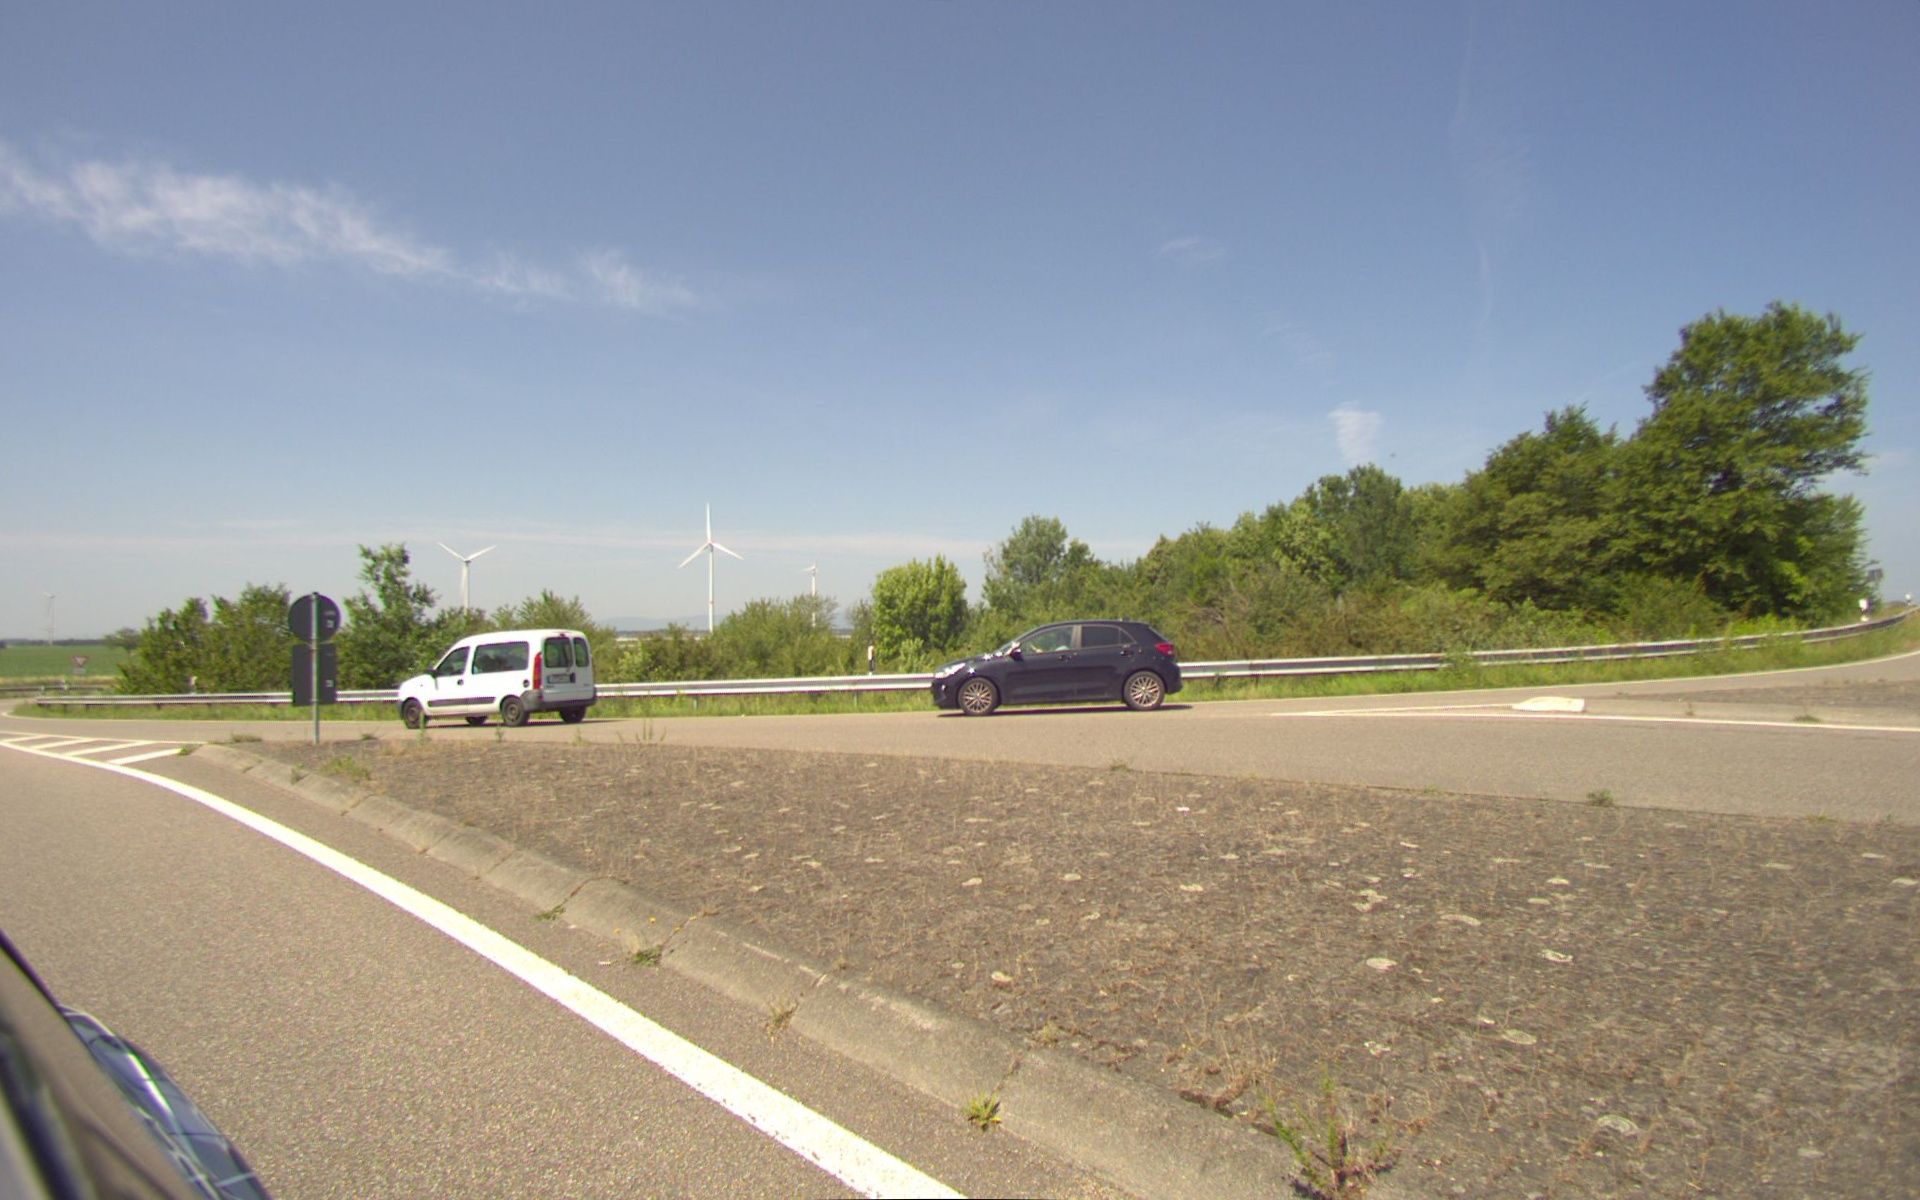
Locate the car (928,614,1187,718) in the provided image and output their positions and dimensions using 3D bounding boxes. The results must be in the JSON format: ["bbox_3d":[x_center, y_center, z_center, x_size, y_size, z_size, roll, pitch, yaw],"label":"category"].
[{"bbox_3d":[1.511,1.053,16.190,3.837,1.406,1.711,-3,-4,4],"label":"car"}]

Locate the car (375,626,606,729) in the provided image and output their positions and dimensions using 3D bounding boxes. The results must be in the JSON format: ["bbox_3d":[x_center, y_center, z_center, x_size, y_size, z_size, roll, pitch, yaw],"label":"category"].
[{"bbox_3d":[-9.051,1.501,19.505,4.055,1.775,1.729,-4,-4,22],"label":"car"}]
